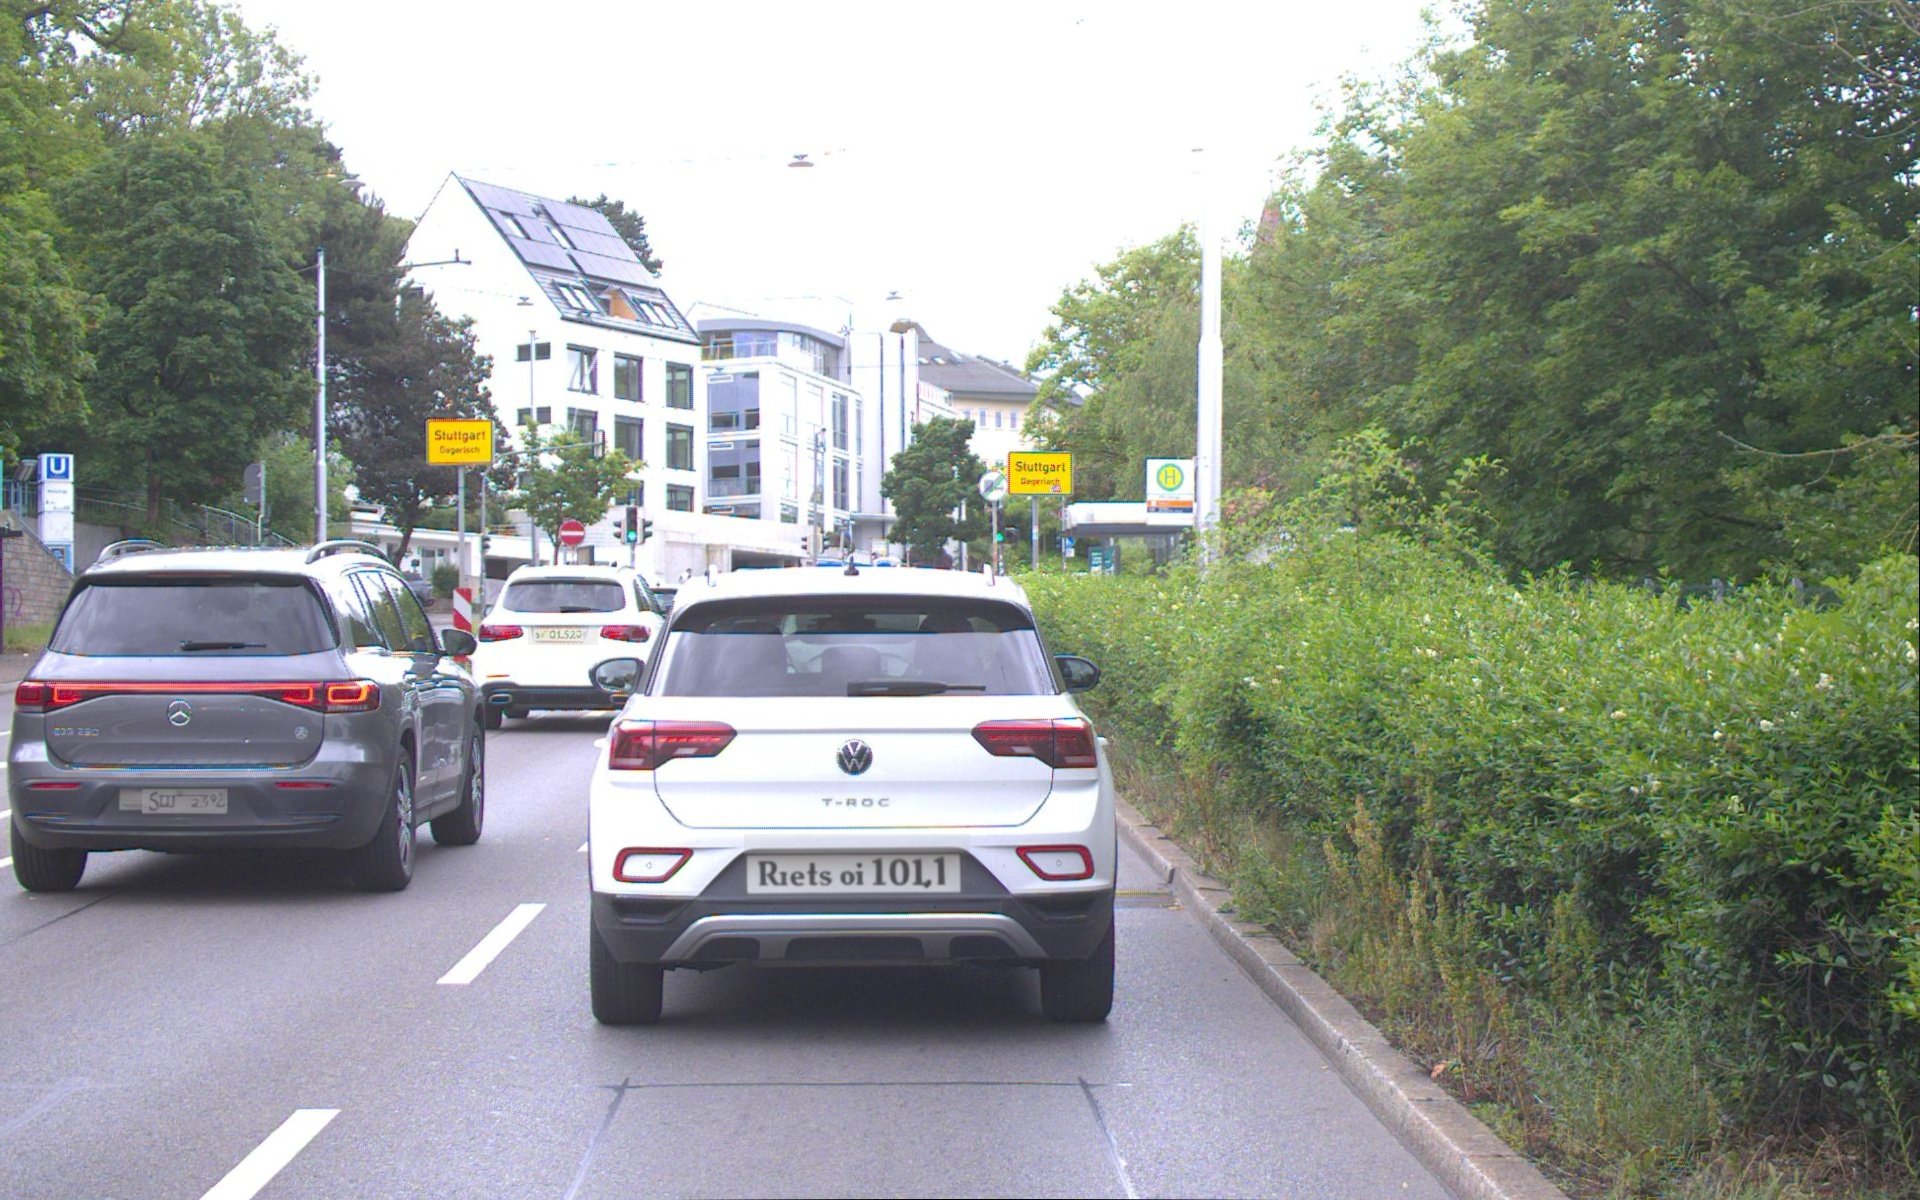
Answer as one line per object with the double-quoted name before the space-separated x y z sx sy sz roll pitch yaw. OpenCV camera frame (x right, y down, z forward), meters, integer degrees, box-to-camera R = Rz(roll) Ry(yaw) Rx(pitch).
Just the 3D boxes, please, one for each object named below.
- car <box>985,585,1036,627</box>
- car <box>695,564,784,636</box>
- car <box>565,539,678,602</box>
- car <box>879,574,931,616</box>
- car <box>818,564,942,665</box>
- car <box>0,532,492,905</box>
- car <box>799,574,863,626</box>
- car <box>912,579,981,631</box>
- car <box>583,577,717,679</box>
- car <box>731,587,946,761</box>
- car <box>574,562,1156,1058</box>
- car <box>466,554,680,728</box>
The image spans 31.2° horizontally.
"car" 1.904 0.201 127.850 1.858 1.495 4.055 -1 0 1
"car" -4.767 -0.012 74.740 1.858 1.495 4.056 -1 0 -3
"car" -14.038 -1.225 143.046 2.233 2.559 7.417 0 0 15
"car" -2.044 -0.197 127.649 1.858 1.495 4.056 -1 0 -2
"car" -1.326 0.212 56.277 1.873 1.496 4.555 3 0 -2
"car" -3.542 0.516 17.704 1.812 1.646 4.636 -1 0 -3
"car" -3.882 -0.019 102.863 1.858 1.495 4.056 -1 0 -3
"car" -0.419 0.136 102.366 1.858 1.495 4.056 -1 0 -3
"car" -4.733 0.402 52.882 1.858 1.495 4.056 -1 0 -3
"car" -1.156 0.638 32.083 1.858 1.495 4.056 -1 0 -3
"car" -0.381 0.647 12.650 1.811 1.534 3.690 -1 0 -3
"car" -3.903 0.379 35.299 1.858 1.646 4.636 -1 0 -3
